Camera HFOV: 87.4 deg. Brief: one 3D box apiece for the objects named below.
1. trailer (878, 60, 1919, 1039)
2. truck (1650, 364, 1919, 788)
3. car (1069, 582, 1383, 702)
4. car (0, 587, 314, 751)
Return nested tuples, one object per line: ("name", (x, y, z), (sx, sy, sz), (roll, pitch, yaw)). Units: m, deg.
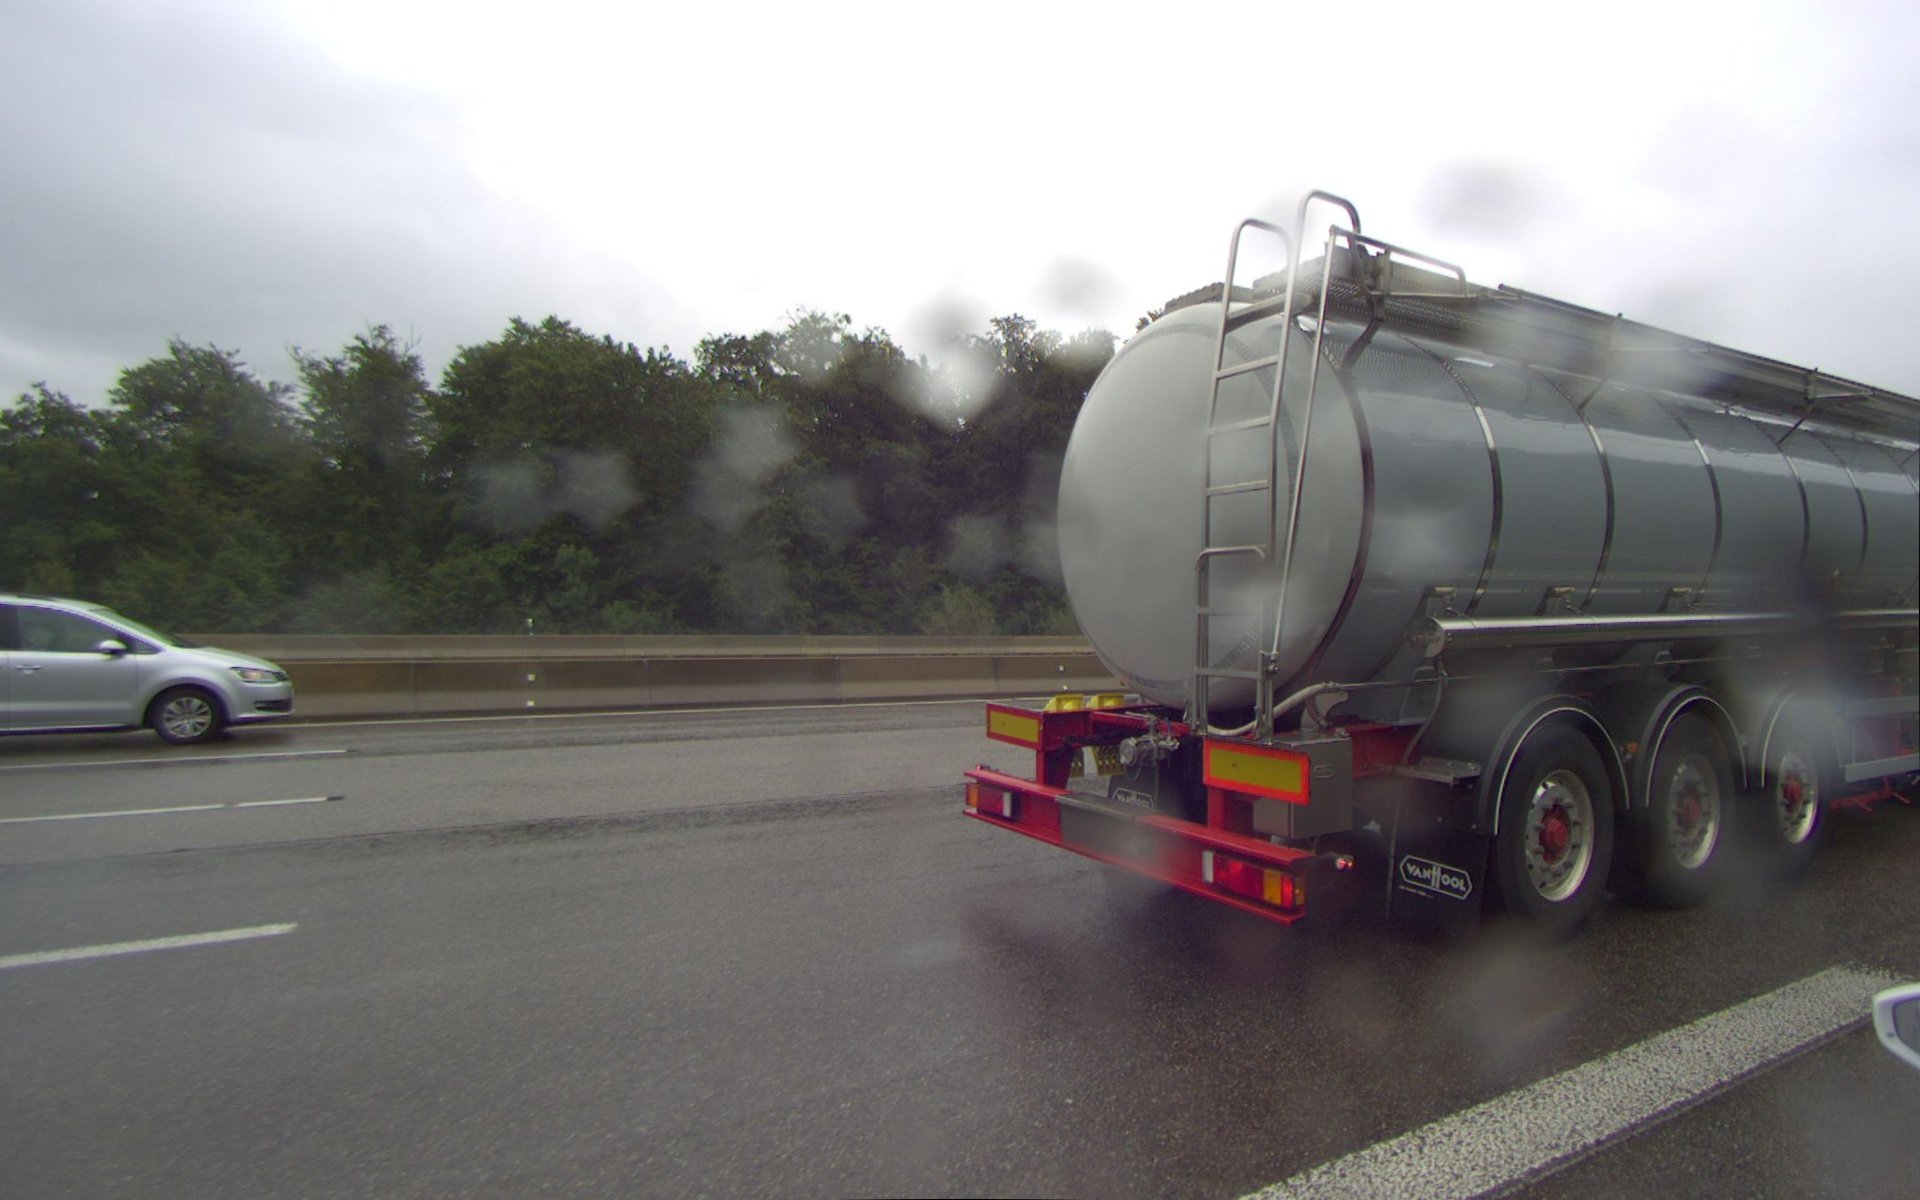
("trailer", (4.511, -0.075, 7.264), (9.964, 3.332, 2.859), (1, -1, -32))
("truck", (10.233, -0.164, 10.780), (4.998, 3.743, 2.862), (1, -1, -31))
("car", (4.184, 0.618, 15.581), (4.753, 1.615, 1.983), (1, -1, -31))
("car", (-10.407, 0.734, 11.405), (5.022, 1.706, 1.984), (1, -1, -30))
